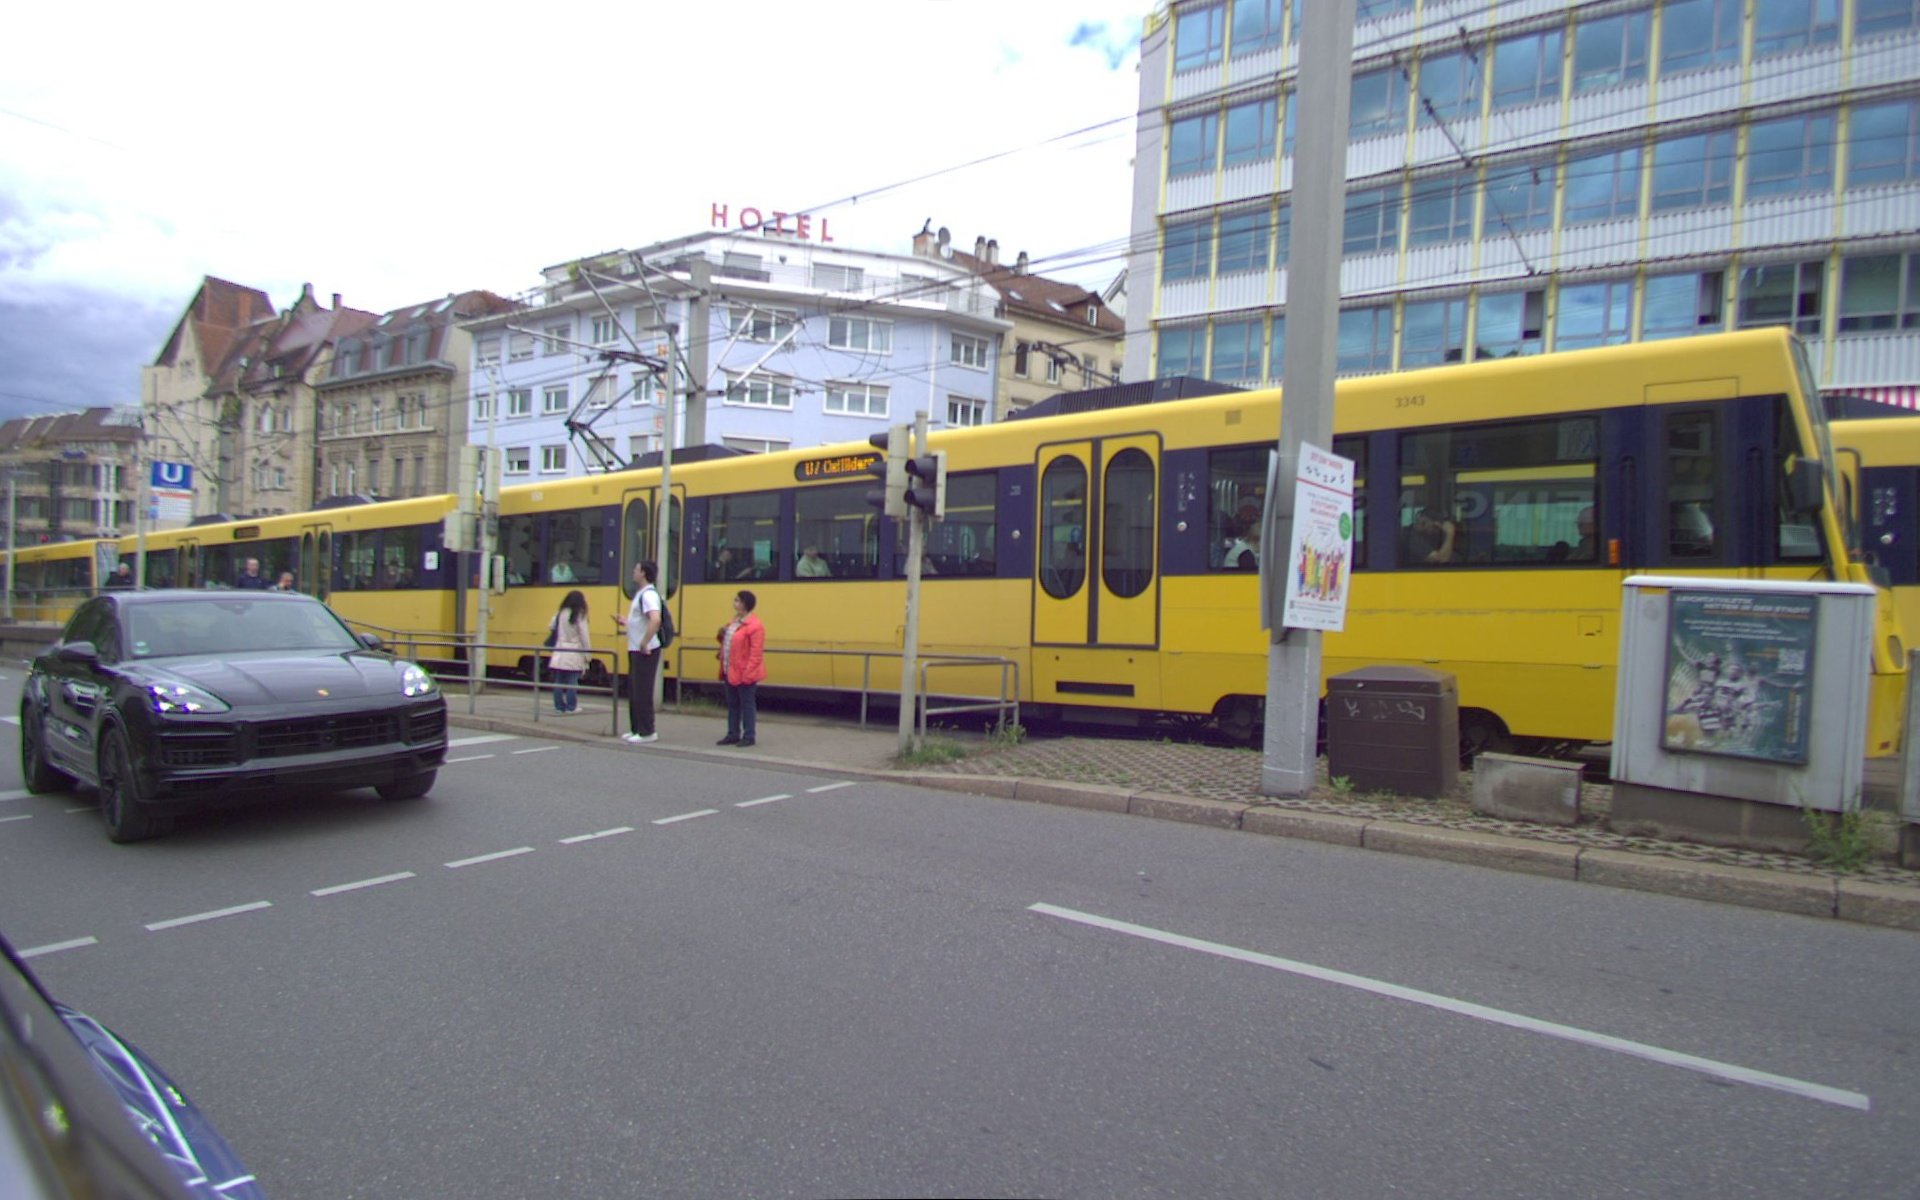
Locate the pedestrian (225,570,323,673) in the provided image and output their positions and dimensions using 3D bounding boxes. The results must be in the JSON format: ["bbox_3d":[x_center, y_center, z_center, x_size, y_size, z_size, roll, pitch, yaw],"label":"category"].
[{"bbox_3d":[-12.203,0.375,18.005,1.040,1.692,1.106,6,2,36],"label":"pedestrian"}]

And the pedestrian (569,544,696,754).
[{"bbox_3d":[-3.475,0.475,10.717,0.953,2.082,1.035,2,1,-34],"label":"pedestrian"}]

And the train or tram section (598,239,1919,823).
[{"bbox_3d":[1.307,-0.428,11.725,14.449,3.691,2.855,0,-1,37],"label":"train or tram section"}]

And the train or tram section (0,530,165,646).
[{"bbox_3d":[-33.139,-0.486,36.703,14.199,3.585,2.897,1,1,36],"label":"train or tram section"}]

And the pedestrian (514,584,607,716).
[{"bbox_3d":[-5.173,0.625,13.104,0.999,1.637,0.669,0,-1,36],"label":"pedestrian"}]

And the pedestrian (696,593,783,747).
[{"bbox_3d":[-2.243,0.689,10.269,0.568,1.475,0.678,3,1,-34],"label":"pedestrian"}]

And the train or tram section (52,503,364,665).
[{"bbox_3d":[-21.621,-0.378,28.491,14.199,3.691,2.856,0,0,36],"label":"train or tram section"}]

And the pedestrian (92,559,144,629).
[{"bbox_3d":[-19.556,-0.129,23.514,0.664,1.596,0.771,0,-1,36],"label":"pedestrian"}]

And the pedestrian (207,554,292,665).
[{"bbox_3d":[-13.453,0.161,19.161,1.231,1.984,0.921,3,1,37],"label":"pedestrian"}]

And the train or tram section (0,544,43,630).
[{"bbox_3d":[-44.705,-0.494,44.864,14.195,3.467,2.857,0,1,35],"label":"train or tram section"}]

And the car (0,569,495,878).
[{"bbox_3d":[-5.734,0.683,7.873,4.777,1.697,2.007,0,0,40],"label":"car"}]

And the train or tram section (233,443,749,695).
[{"bbox_3d":[-10.144,-0.444,20.214,14.202,3.691,2.856,0,-1,36],"label":"train or tram section"}]
